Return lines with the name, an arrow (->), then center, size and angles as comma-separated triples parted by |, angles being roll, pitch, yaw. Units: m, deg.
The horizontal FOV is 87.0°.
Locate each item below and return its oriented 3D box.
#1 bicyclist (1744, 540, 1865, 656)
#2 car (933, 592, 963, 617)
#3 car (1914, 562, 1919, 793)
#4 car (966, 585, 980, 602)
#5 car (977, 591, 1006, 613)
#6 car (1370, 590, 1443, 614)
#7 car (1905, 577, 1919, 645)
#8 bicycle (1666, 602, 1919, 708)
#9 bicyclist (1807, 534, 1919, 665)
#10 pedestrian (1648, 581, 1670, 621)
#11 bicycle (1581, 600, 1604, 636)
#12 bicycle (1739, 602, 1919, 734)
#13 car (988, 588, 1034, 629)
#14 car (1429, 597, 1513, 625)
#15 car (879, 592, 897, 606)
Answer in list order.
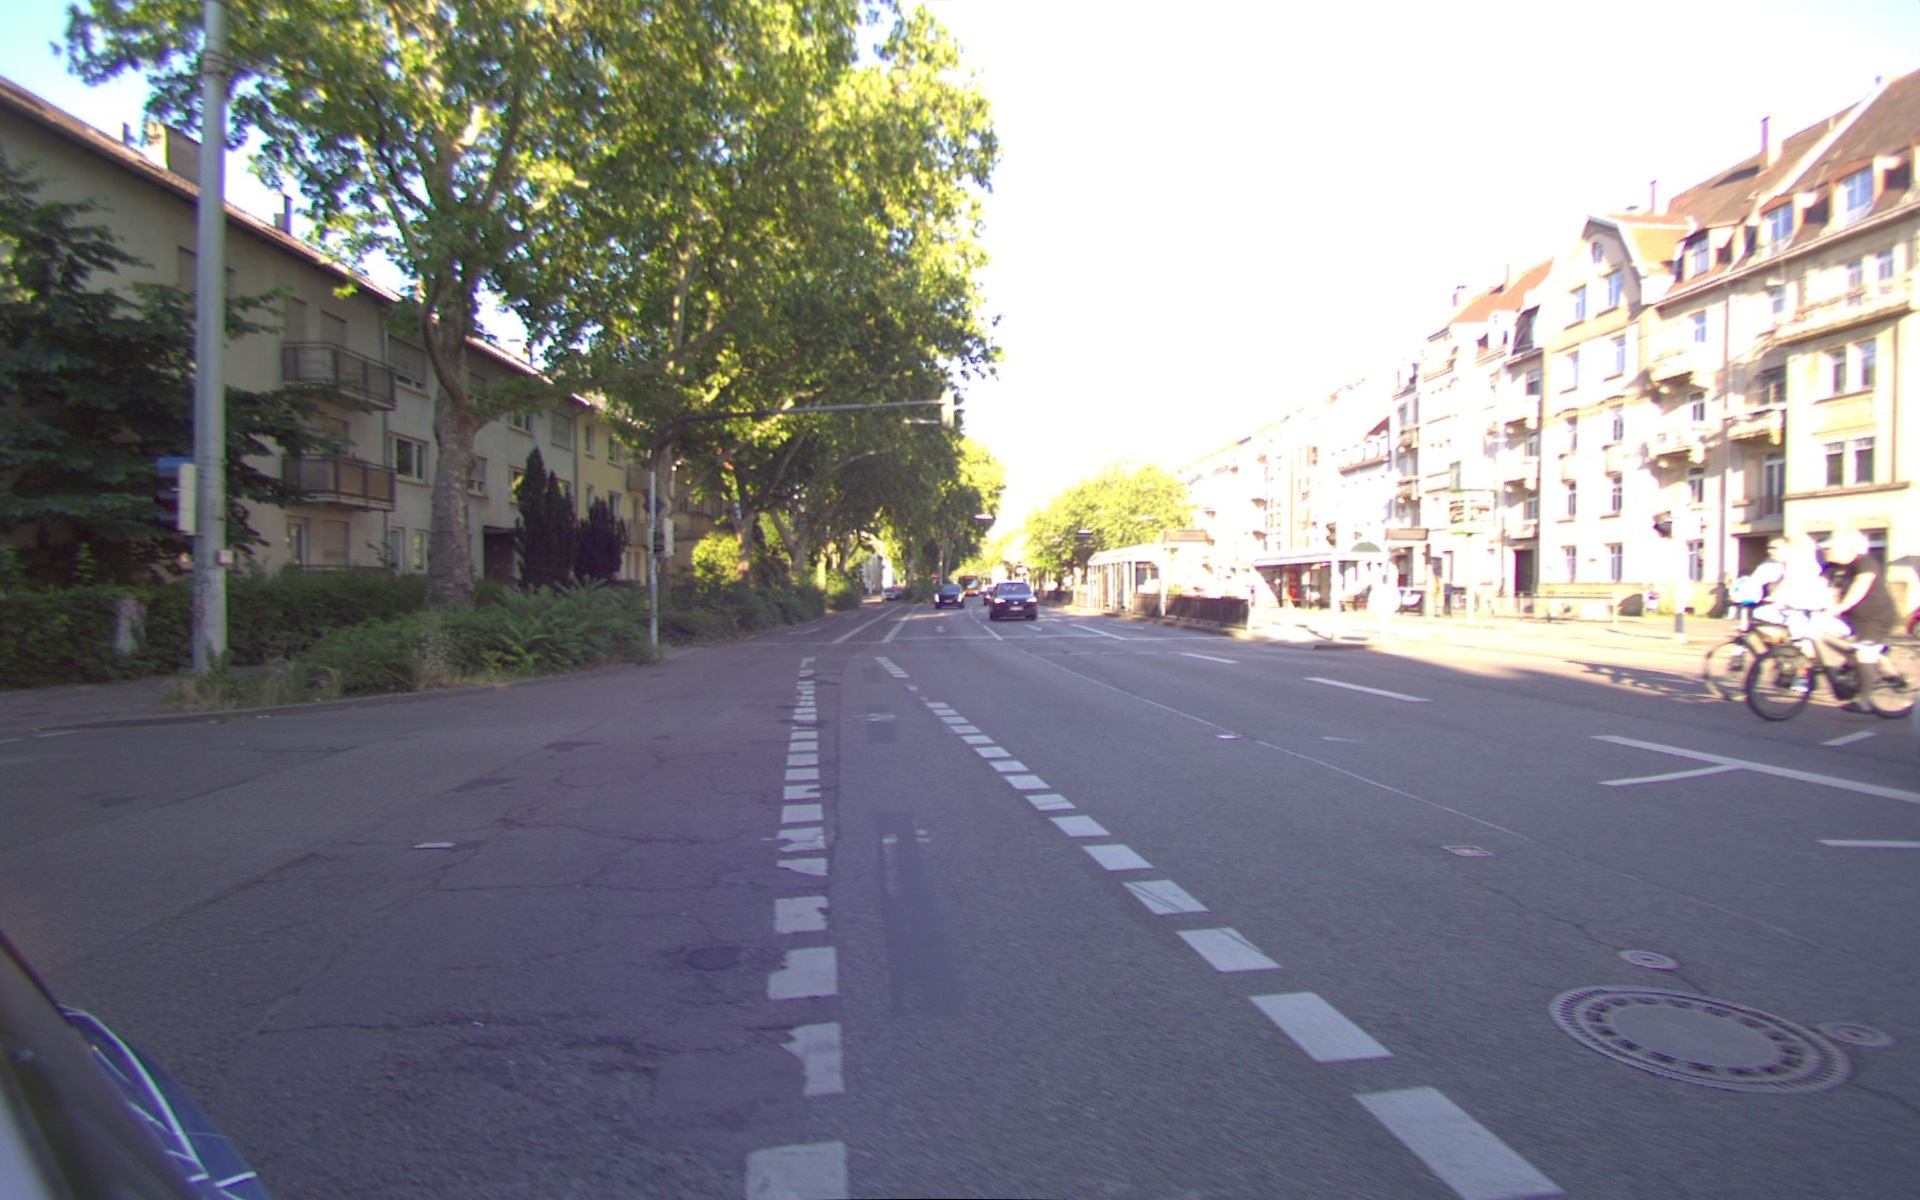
bicyclist -> 9.304, -0.029, 11.179 | 0.757, 1.245, 0.660 | 0, 1, 2
car -> -0.758, 0.255, 66.727 | 1.854, 1.608, 3.998 | 0, 0, 2
car -> 8.200, 0.461, 6.126 | 3.751, 1.491, 1.742 | -2, 2, -13
car -> 1.813, -0.892, 142.970 | 1.852, 2.309, 4.002 | 0, 0, -2
car -> 2.335, 0.097, 75.760 | 1.852, 1.608, 4.002 | 0, 0, -2
car -> 28.142, 0.094, 63.868 | 3.648, 1.475, 1.952 | 0, 1, -6
car -> 28.078, 0.345, 26.821 | 1.893, 1.913, 4.312 | 0, 1, -2
bicycle -> 9.327, 0.591, 11.187 | 2.518, 1.113, 0.652 | 0, 1, 2
bicyclist -> 8.484, -0.011, 9.360 | 0.757, 1.166, 0.612 | 0, 1, 2
pedestrian -> 32.392, 0.054, 46.882 | 0.632, 1.851, 0.477 | 0, 1, 1
bicycle -> 30.807, 0.862, 49.292 | 0.553, 1.750, 0.888 | 0, 1, 2
bicycle -> 8.437, 0.605, 9.359 | 1.898, 1.113, 0.652 | -2, 1, 2
car -> 2.100, 0.325, 42.327 | 1.854, 1.608, 3.998 | 0, 0, 2
car -> 28.599, 0.596, 56.691 | 3.648, 1.475, 1.952 | 0, 1, -6
car -> -7.950, -0.127, 112.527 | 1.852, 1.608, 4.002 | 0, 0, -2
